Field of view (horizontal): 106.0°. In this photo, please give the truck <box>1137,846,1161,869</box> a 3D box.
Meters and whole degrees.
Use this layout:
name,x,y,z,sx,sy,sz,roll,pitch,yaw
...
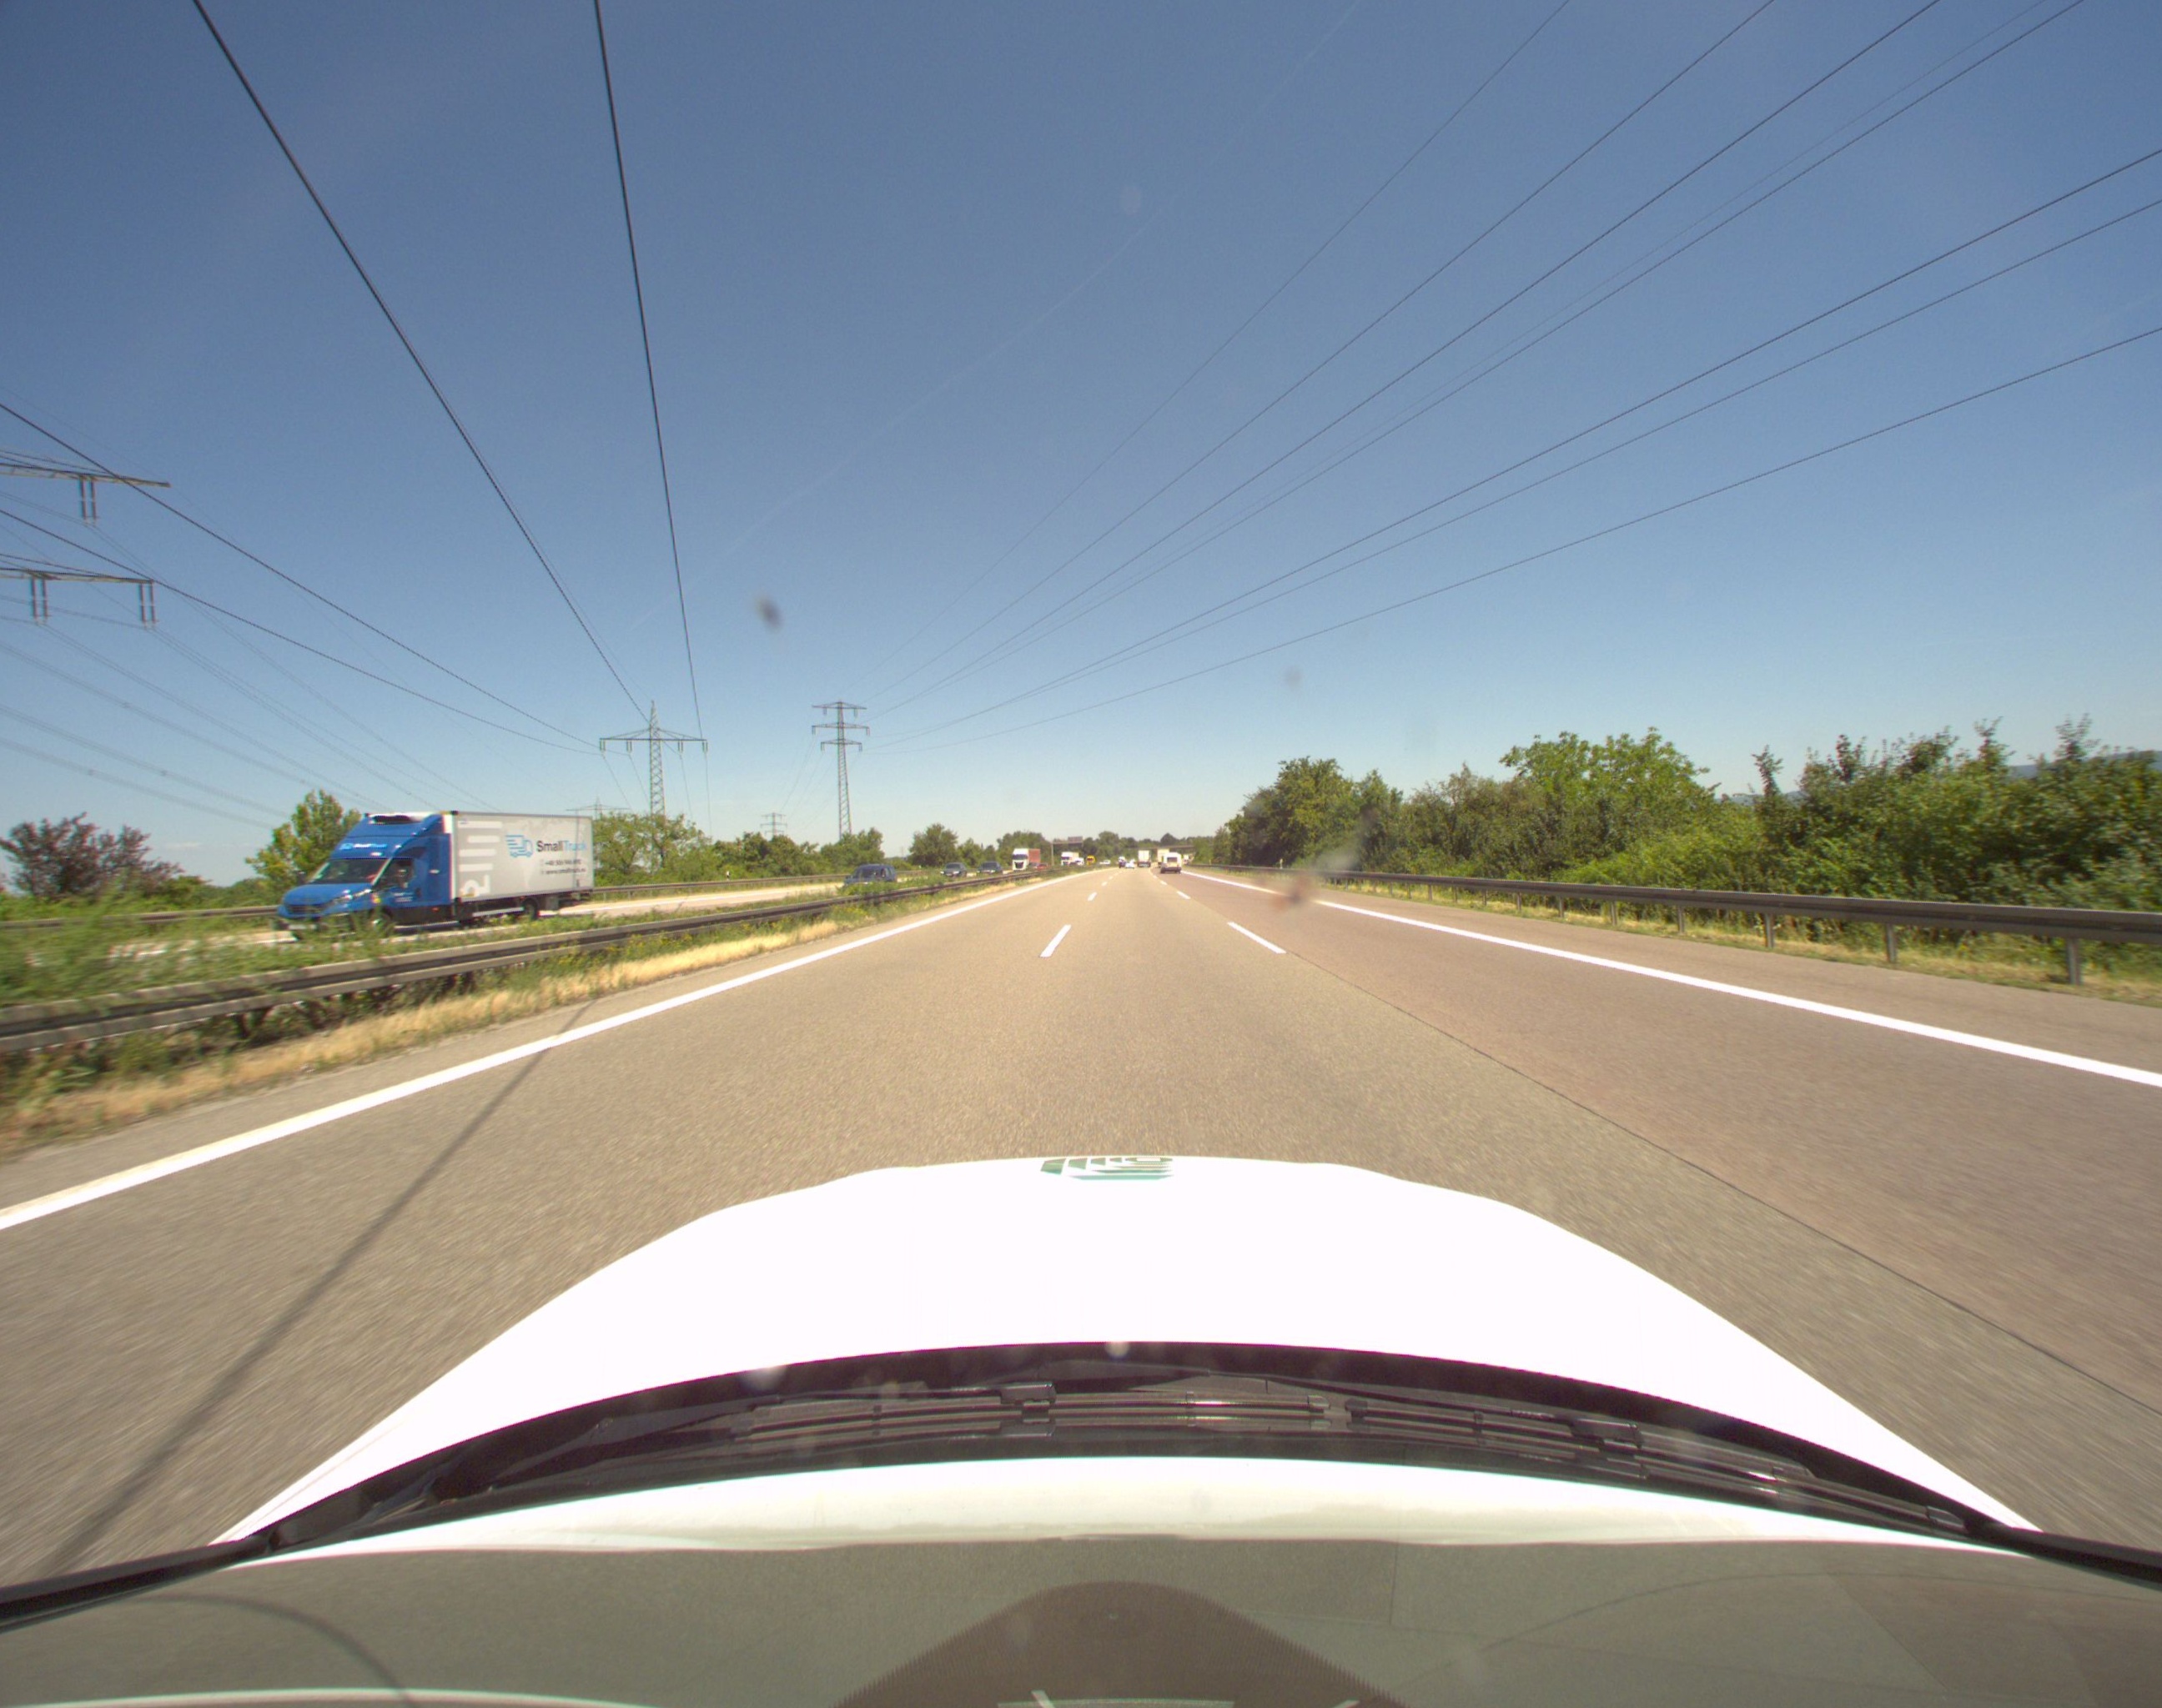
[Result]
name,x,y,z,sx,sy,sz,roll,pitch,yaw
truck,16.134,0.781,191.993,3.642,5.018,16.069,-1,1,12

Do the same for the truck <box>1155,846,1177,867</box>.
name,x,y,z,sx,sy,sz,roll,pitch,yaw
truck,19.198,0.478,182.115,3.160,4.304,16.071,-1,1,12

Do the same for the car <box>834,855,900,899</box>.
name,x,y,z,sx,sy,sz,roll,pitch,yaw
car,-10.594,1.097,40.659,1.985,1.974,4.289,-1,1,2

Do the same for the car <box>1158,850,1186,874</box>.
name,x,y,z,sx,sy,sz,roll,pitch,yaw
car,9.629,0.826,86.405,2.433,2.321,5.323,-2,1,1

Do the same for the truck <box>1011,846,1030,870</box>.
name,x,y,z,sx,sy,sz,roll,pitch,yaw
truck,-10.736,0.682,144.708,2.470,4.019,4.608,-1,0,5

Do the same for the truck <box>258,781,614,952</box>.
name,x,y,z,sx,sy,sz,roll,pitch,yaw
truck,-18.328,0.252,24.479,2.444,3.975,9.677,-4,0,2

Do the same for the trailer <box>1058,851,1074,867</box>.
name,x,y,z,sx,sy,sz,roll,pitch,yaw
trailer,-3.875,1.344,217.981,2.822,4.258,13.653,-1,0,4

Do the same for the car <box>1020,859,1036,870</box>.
name,x,y,z,sx,sy,sz,roll,pitch,yaw
car,-8.432,1.664,130.134,1.985,1.673,4.933,-1,0,3

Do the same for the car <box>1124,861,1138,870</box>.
name,x,y,z,sx,sy,sz,roll,pitch,yaw
car,9.483,2.192,153.881,1.814,1.547,4.337,0,0,16

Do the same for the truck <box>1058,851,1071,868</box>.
name,x,y,z,sx,sy,sz,roll,pitch,yaw
truck,-4.380,1.419,211.283,2.818,4.081,5.172,-1,-1,4

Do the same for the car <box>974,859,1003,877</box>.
name,x,y,z,sx,sy,sz,roll,pitch,yaw
car,-8.385,1.267,74.187,1.985,1.435,4.414,-1,1,2

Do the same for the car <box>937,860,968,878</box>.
name,x,y,z,sx,sy,sz,roll,pitch,yaw
car,-12.220,1.409,77.710,1.985,1.617,4.414,-1,1,2

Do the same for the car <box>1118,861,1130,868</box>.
name,x,y,z,sx,sy,sz,roll,pitch,yaw
car,9.251,2.202,174.906,1.816,1.547,4.333,0,0,11
